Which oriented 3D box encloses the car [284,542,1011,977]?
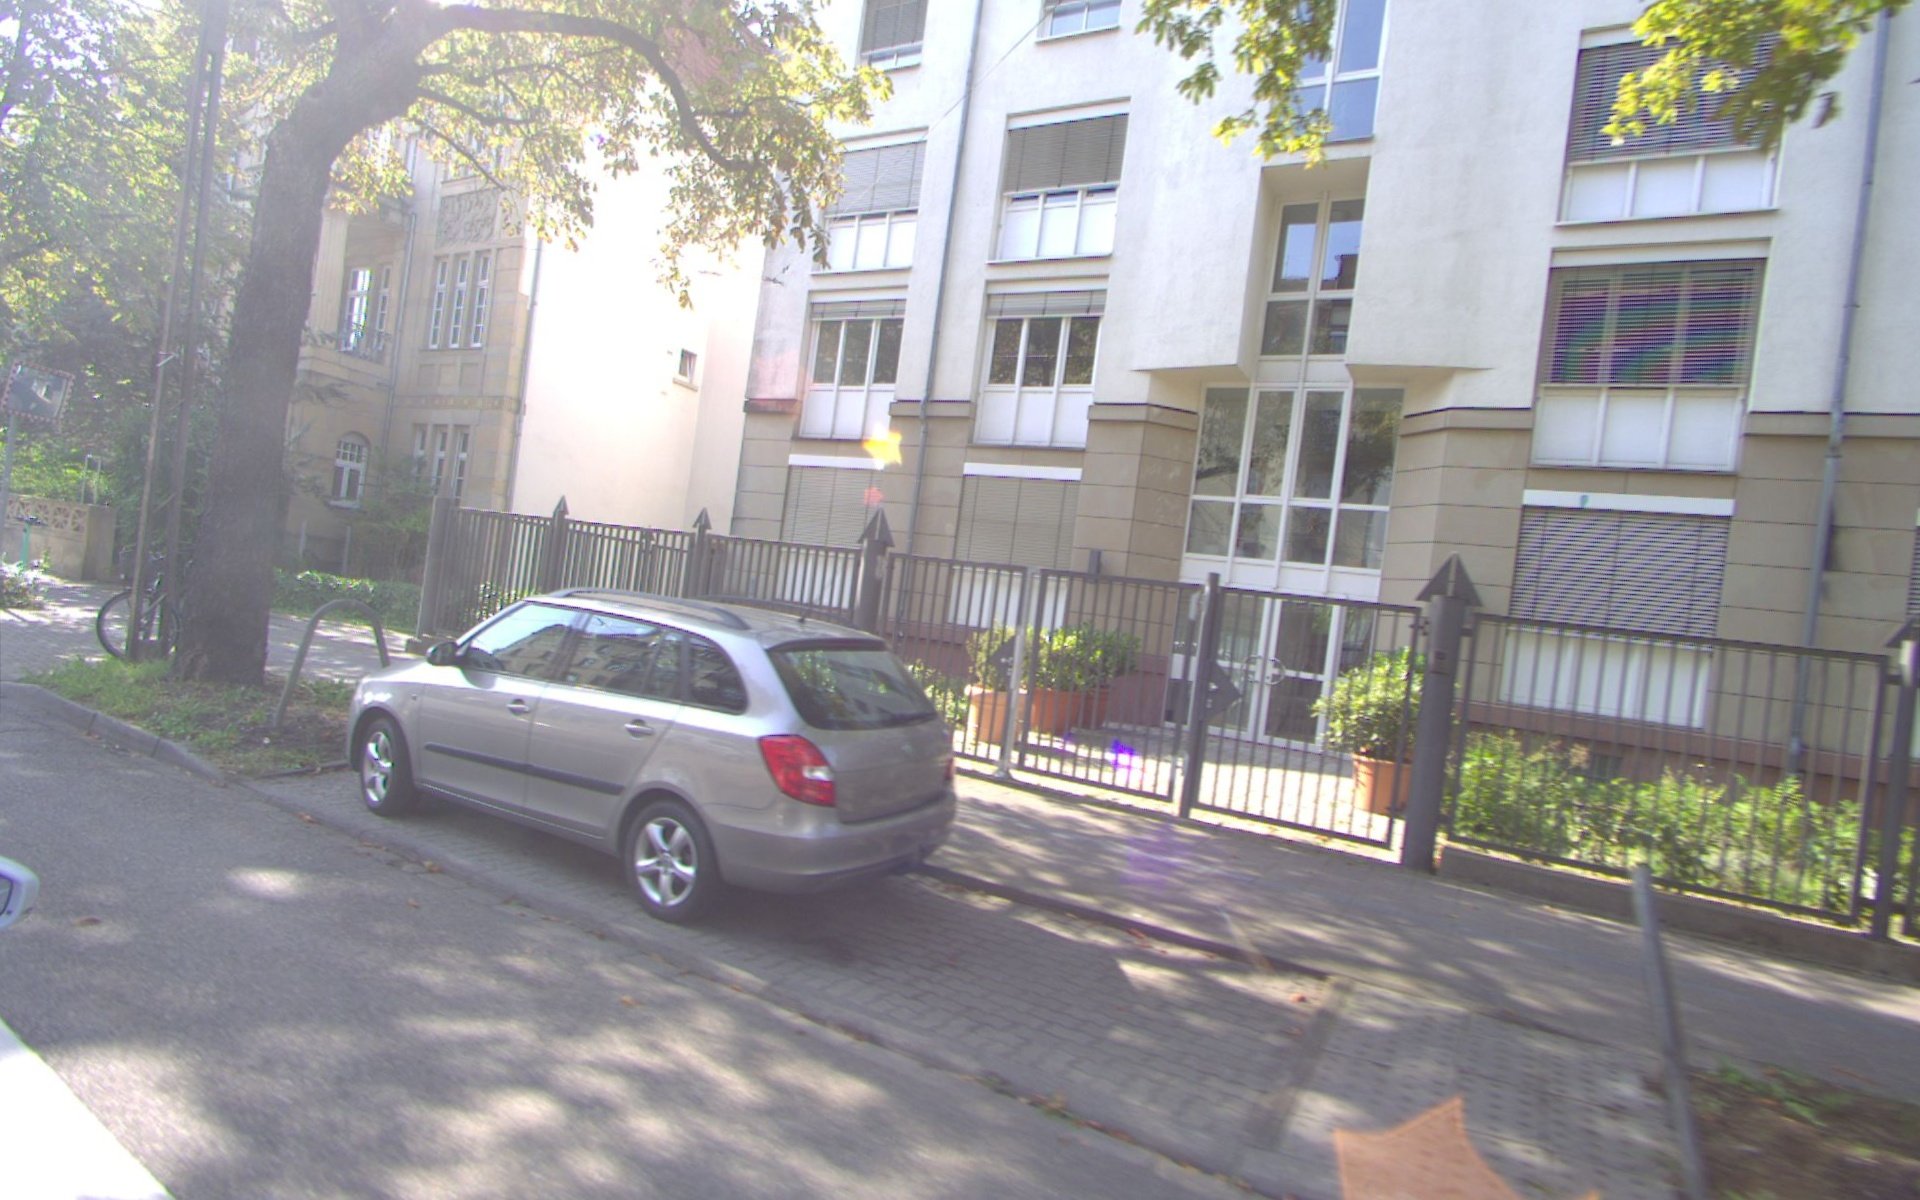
[{"bbox_3d":[-2.023,0.651,6.051,4.283,1.544,1.608,7,2,30],"label":"car"}]

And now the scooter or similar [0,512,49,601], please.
[{"bbox_3d":[-13.866,-0.648,14.709,1.018,1.213,0.557,7,3,35],"label":"scooter or similar"}]

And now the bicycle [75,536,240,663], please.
[{"bbox_3d":[-8.214,-0.031,10.395,0.496,1.182,1.838,2,2,-10],"label":"bicycle"}]
